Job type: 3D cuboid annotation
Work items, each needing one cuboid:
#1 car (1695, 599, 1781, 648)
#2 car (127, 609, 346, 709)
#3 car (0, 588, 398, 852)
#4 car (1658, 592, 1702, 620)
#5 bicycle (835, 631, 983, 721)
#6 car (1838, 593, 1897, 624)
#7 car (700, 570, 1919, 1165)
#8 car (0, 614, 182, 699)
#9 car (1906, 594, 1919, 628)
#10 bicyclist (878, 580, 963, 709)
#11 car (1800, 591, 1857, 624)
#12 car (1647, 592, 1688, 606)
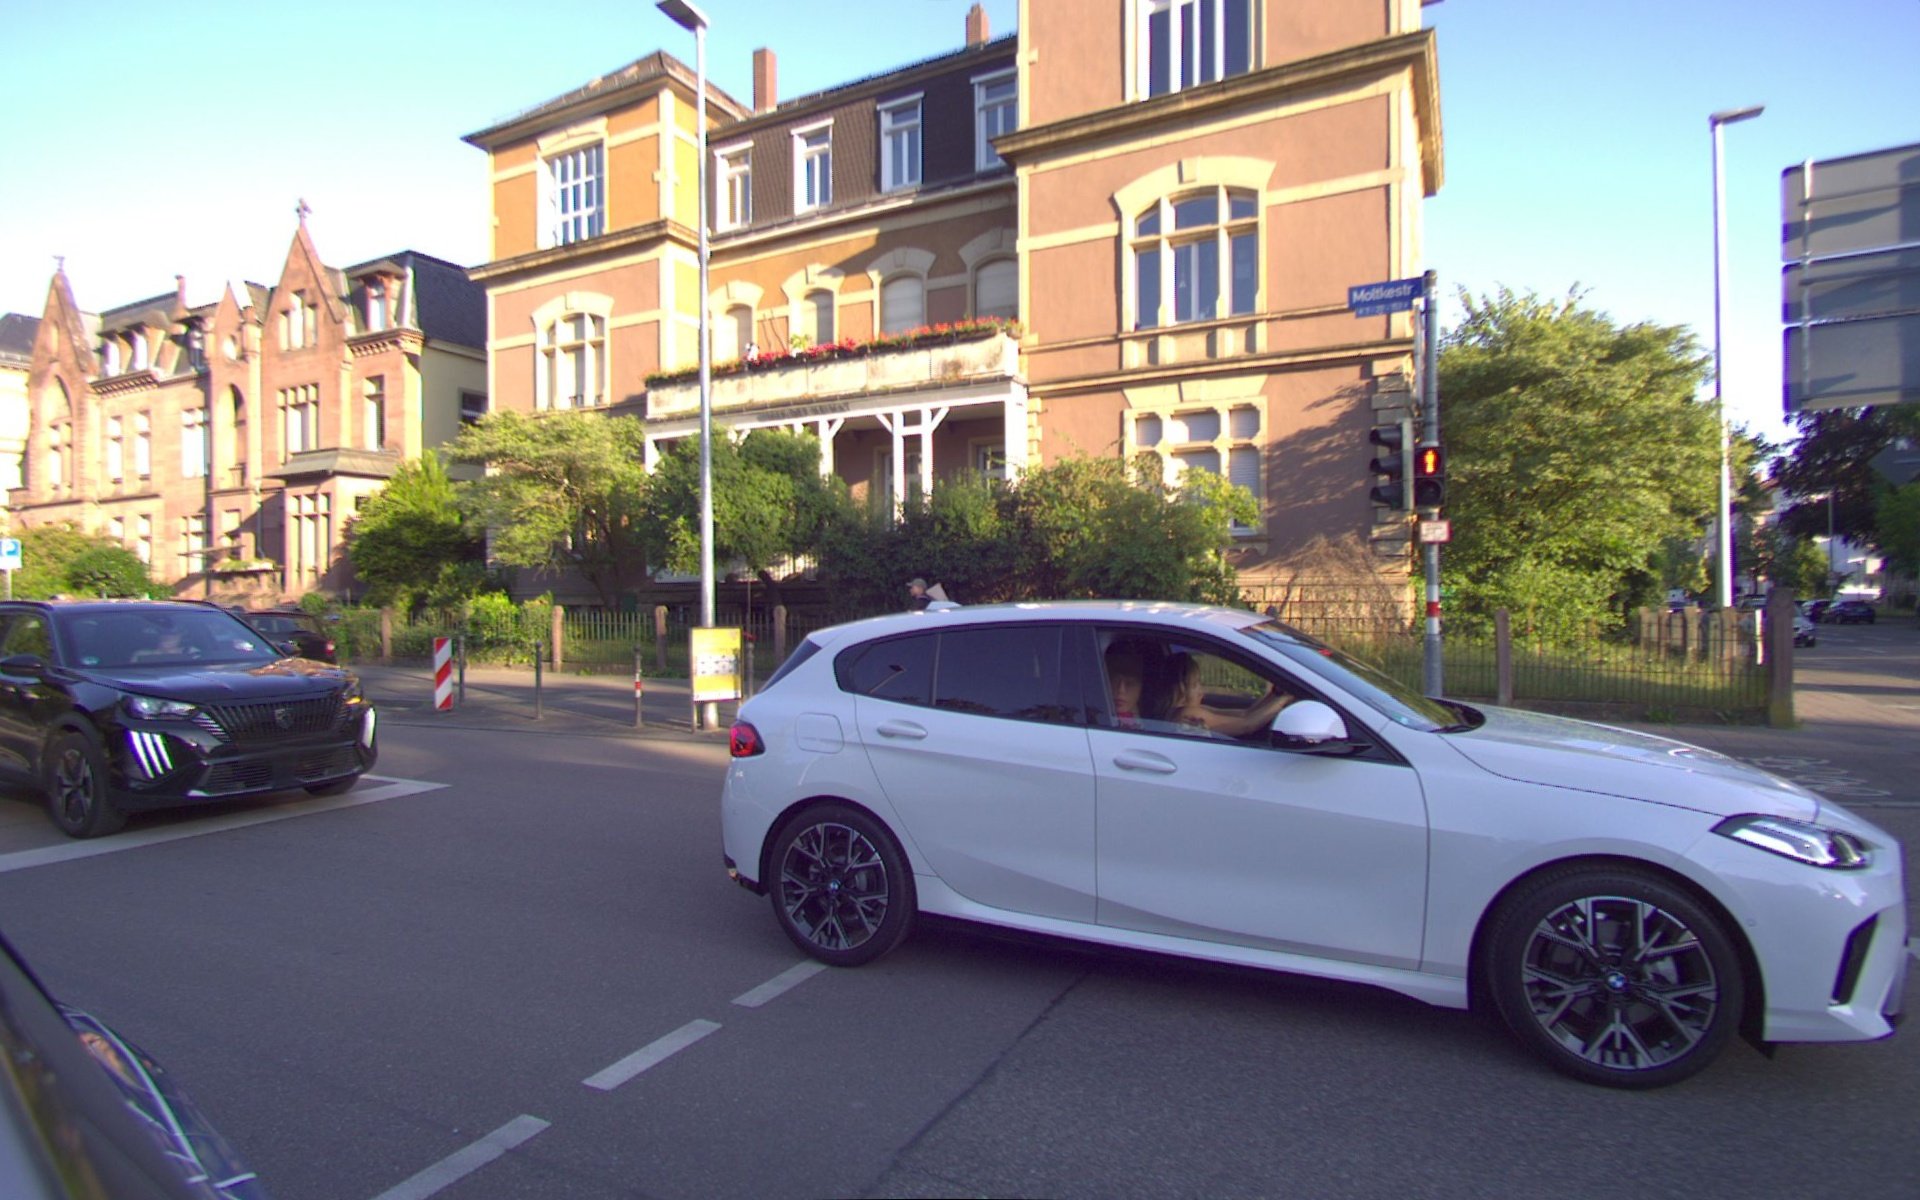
[{"bbox_3d":[26.329,0.769,34.367,1.683,1.521,3.664,-4,-2,29],"label":"car"},{"bbox_3d":[-12.352,0.974,17.251,3.708,1.546,1.616,-1,-3,30],"label":"car"},{"bbox_3d":[-6.268,0.732,7.624,3.980,1.547,1.668,-1,-1,28],"label":"car"},{"bbox_3d":[49.351,0.381,69.426,1.991,1.829,3.962,0,1,29],"label":"car"},{"bbox_3d":[-0.694,0.984,13.563,1.894,1.097,0.654,-1,1,29],"label":"bicycle"},{"bbox_3d":[54.742,0.514,61.126,1.792,1.741,3.960,-1,1,29],"label":"car"},{"bbox_3d":[1.145,0.688,4.121,4.167,1.477,1.742,-1,-1,27],"label":"car"},{"bbox_3d":[-16.639,1.027,19.038,4.415,1.454,1.593,-1,-3,30],"label":"car"},{"bbox_3d":[48.354,0.530,49.642,1.930,1.655,3.960,-1,-1,29],"label":"car"},{"bbox_3d":[-0.528,0.570,13.463,0.910,1.645,0.647,0,1,28],"label":"bicyclist"},{"bbox_3d":[56.814,0.461,66.265,1.991,2.029,3.962,0,1,28],"label":"car"},{"bbox_3d":[82.485,-0.128,118.066,3.745,1.630,1.803,-1,-1,31],"label":"car"}]
